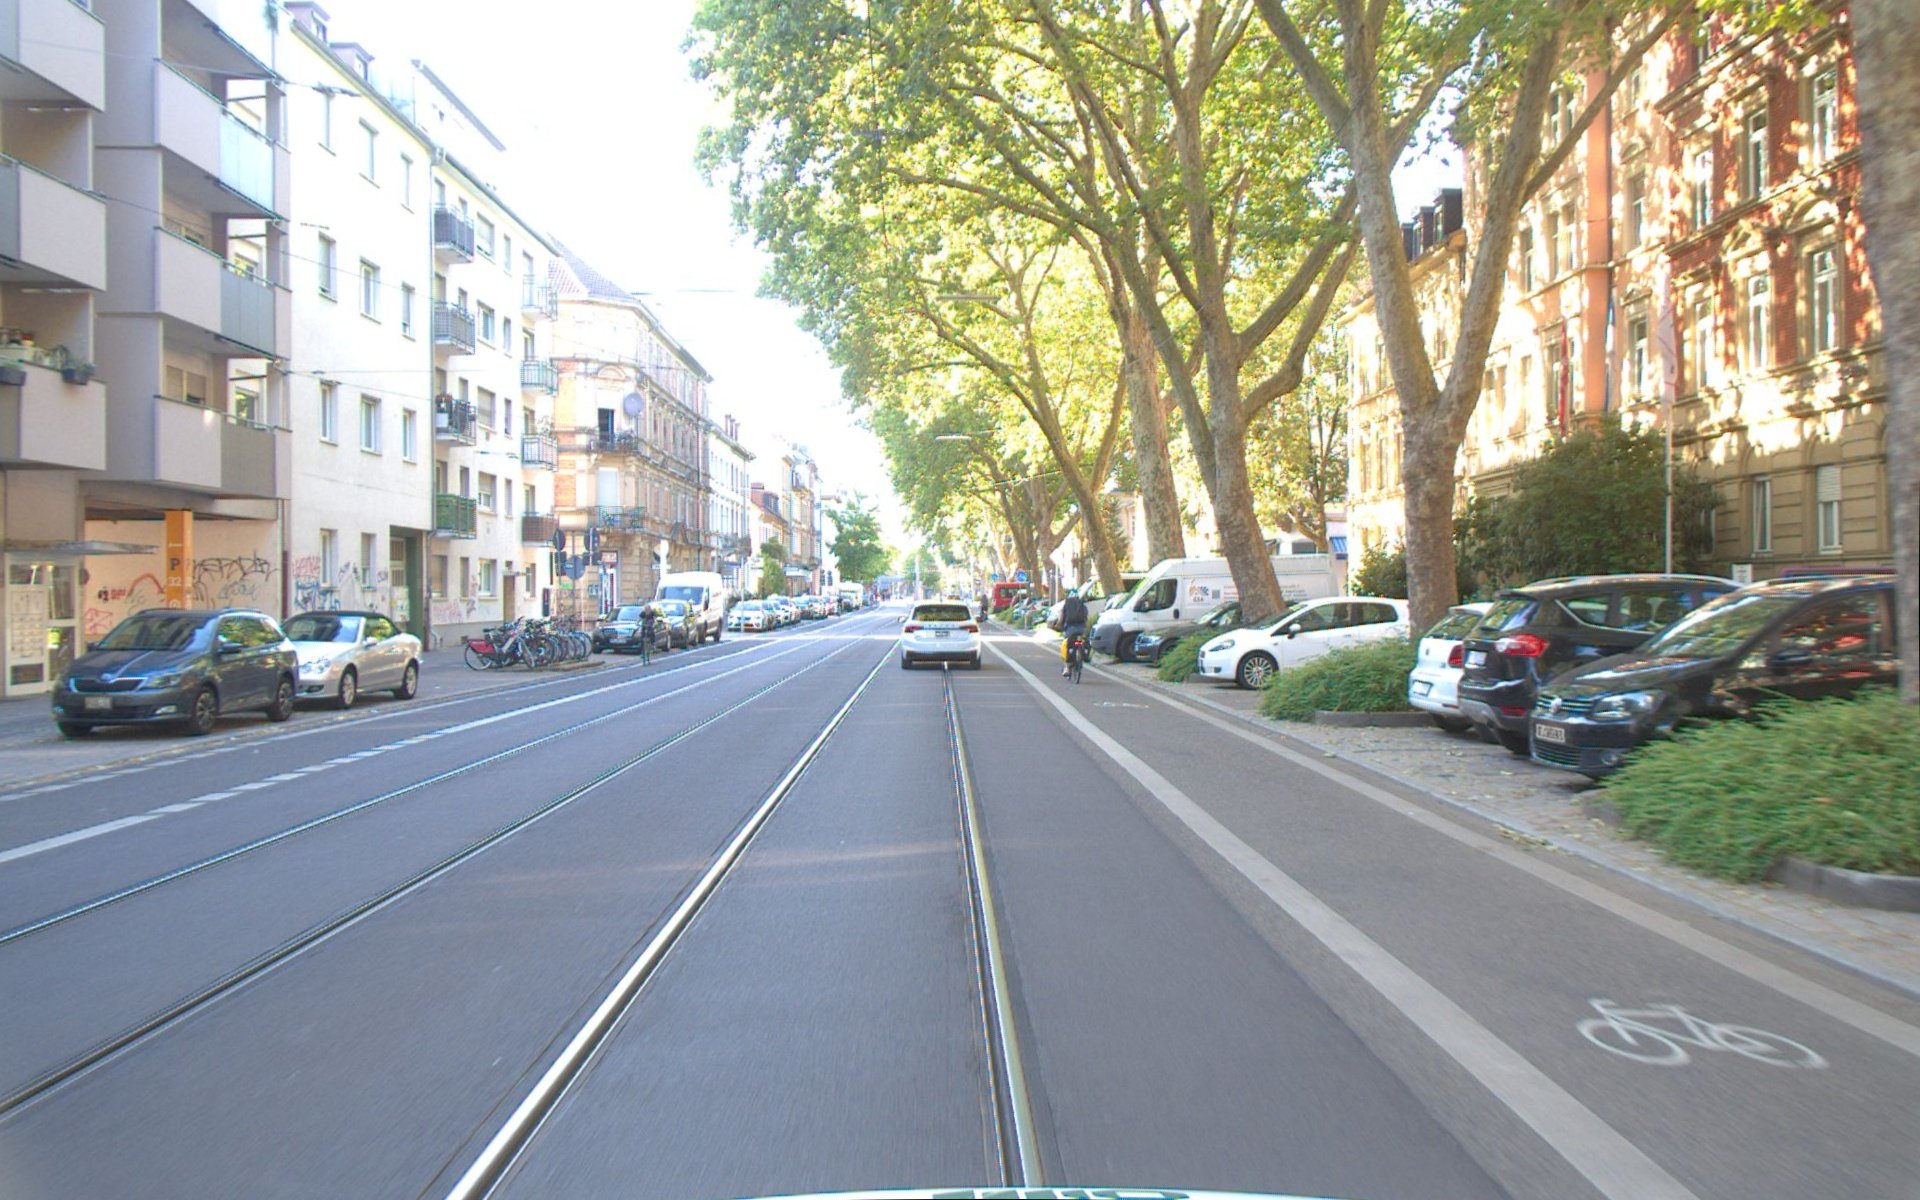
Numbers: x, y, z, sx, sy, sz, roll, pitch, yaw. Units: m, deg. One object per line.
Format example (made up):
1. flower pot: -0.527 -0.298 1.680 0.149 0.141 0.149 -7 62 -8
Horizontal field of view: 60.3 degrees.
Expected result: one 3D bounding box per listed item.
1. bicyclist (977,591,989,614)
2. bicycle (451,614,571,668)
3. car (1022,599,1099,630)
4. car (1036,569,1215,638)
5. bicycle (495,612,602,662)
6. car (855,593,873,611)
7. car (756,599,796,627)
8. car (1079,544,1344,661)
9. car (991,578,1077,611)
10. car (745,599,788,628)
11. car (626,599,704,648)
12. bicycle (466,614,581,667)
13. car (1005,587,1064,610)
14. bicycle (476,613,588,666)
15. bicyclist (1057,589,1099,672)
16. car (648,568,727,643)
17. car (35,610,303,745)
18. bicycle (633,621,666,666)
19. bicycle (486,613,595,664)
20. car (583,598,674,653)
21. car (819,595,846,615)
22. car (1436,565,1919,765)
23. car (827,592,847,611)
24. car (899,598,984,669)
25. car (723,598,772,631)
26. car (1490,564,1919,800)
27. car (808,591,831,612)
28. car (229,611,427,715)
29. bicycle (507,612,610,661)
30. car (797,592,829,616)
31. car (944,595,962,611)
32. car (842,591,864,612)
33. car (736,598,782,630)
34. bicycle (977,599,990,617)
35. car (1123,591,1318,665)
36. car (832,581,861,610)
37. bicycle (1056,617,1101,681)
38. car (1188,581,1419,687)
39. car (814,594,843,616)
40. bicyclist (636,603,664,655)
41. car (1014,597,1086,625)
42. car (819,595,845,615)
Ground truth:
1. bicyclist: 1.376 0.142 98.344 0.636 1.367 0.934 -1 0 -3
2. bicycle: -10.234 0.946 37.775 2.510 1.193 0.870 2 -2 -41
3. car: 5.339 0.769 88.397 3.967 1.567 1.999 -1 0 -2
4. car: 5.841 0.120 58.902 6.008 2.322 2.528 -1 0 -3
5. bicycle: -10.277 0.937 41.381 2.476 1.193 0.718 1 -2 -6
6. car: -11.090 0.236 191.516 1.953 2.049 3.999 -1 0 -1
7. car: -10.626 0.758 95.816 1.953 1.557 3.999 -1 0 -1
8. car: 6.038 0.048 40.286 6.008 2.681 2.528 -1 0 -3
9. car: 5.311 -0.409 119.127 6.008 2.322 2.528 -1 0 -3
10. car: -10.625 0.733 91.007 1.953 1.557 3.999 -1 0 -1
11. car: -9.874 0.756 55.596 1.953 1.557 3.999 -1 0 -1
12. bicycle: -10.188 0.948 38.658 2.477 1.193 0.718 1 -2 -8
13. car: 5.126 -0.118 114.422 3.967 1.567 1.999 -1 0 -2
14. bicycle: -10.218 0.946 39.544 2.476 1.193 0.718 1 -2 -6
15. bicyclist: 2.144 0.536 30.090 0.664 1.468 1.047 -1 0 0
16. car: -10.079 0.198 61.537 2.134 2.642 4.948 -1 0 -1
17. car: -9.690 0.883 20.593 1.620 1.462 3.835 0 0 -3
18. bicycle: -7.849 1.097 41.866 0.593 1.089 1.582 -1 0 -3
19. bicycle: -10.259 0.940 40.532 2.476 1.193 0.718 1 -2 -6
20. car: -9.929 0.732 49.814 1.953 1.557 3.999 -1 0 -1
21. car: -10.630 0.425 138.332 1.953 1.668 3.999 0 0 -1
22. car: 6.649 0.563 15.432 3.907 1.709 1.723 -1 0 -2
23. car: -13.157 0.154 177.211 1.953 2.049 3.999 0 0 -1
24. car: -0.397 0.676 35.753 1.726 1.408 3.999 -1 0 -1
25. car: -10.494 0.686 81.856 1.953 1.557 3.999 -1 0 -1
26. car: 6.581 0.584 13.125 4.149 1.695 1.847 -1 0 -2
27. car: -13.789 0.126 162.899 1.953 2.049 3.999 -1 0 -1
28. car: -9.676 0.918 25.633 1.454 1.428 3.991 0 0 1
29. bicycle: -10.290 0.942 42.435 2.477 1.193 0.718 1 -2 -7
30. car: -10.457 0.320 117.859 1.953 1.668 3.999 0 0 -1
31. car: -0.664 0.263 155.461 1.726 1.501 3.999 -1 0 -1
32. car: -10.691 0.100 165.439 1.953 2.049 3.999 -1 0 -1
33. car: -10.429 0.708 86.085 1.953 1.557 3.999 -1 0 -1
34. bicycle: 1.385 0.473 98.369 0.636 1.089 1.582 -1 0 -3
35. car: 5.857 0.605 37.449 3.972 1.567 1.997 -1 0 -7
36. car: -12.671 -0.487 184.379 2.908 3.211 5.846 0 0 -1
37. bicycle: 2.148 0.880 30.128 0.667 1.089 1.780 -1 0 0
38. car: 5.754 0.550 28.026 3.559 1.695 1.822 -1 0 1
39. car: -10.093 0.369 126.904 1.953 1.668 3.999 0 0 -1
40. bicyclist: -7.856 0.728 41.923 0.585 1.308 0.916 -1 0 -4
41. car: 5.135 0.622 94.907 3.967 1.567 1.999 -1 0 -2
42. car: -11.094 0.450 143.674 1.953 1.668 3.999 0 0 -1
